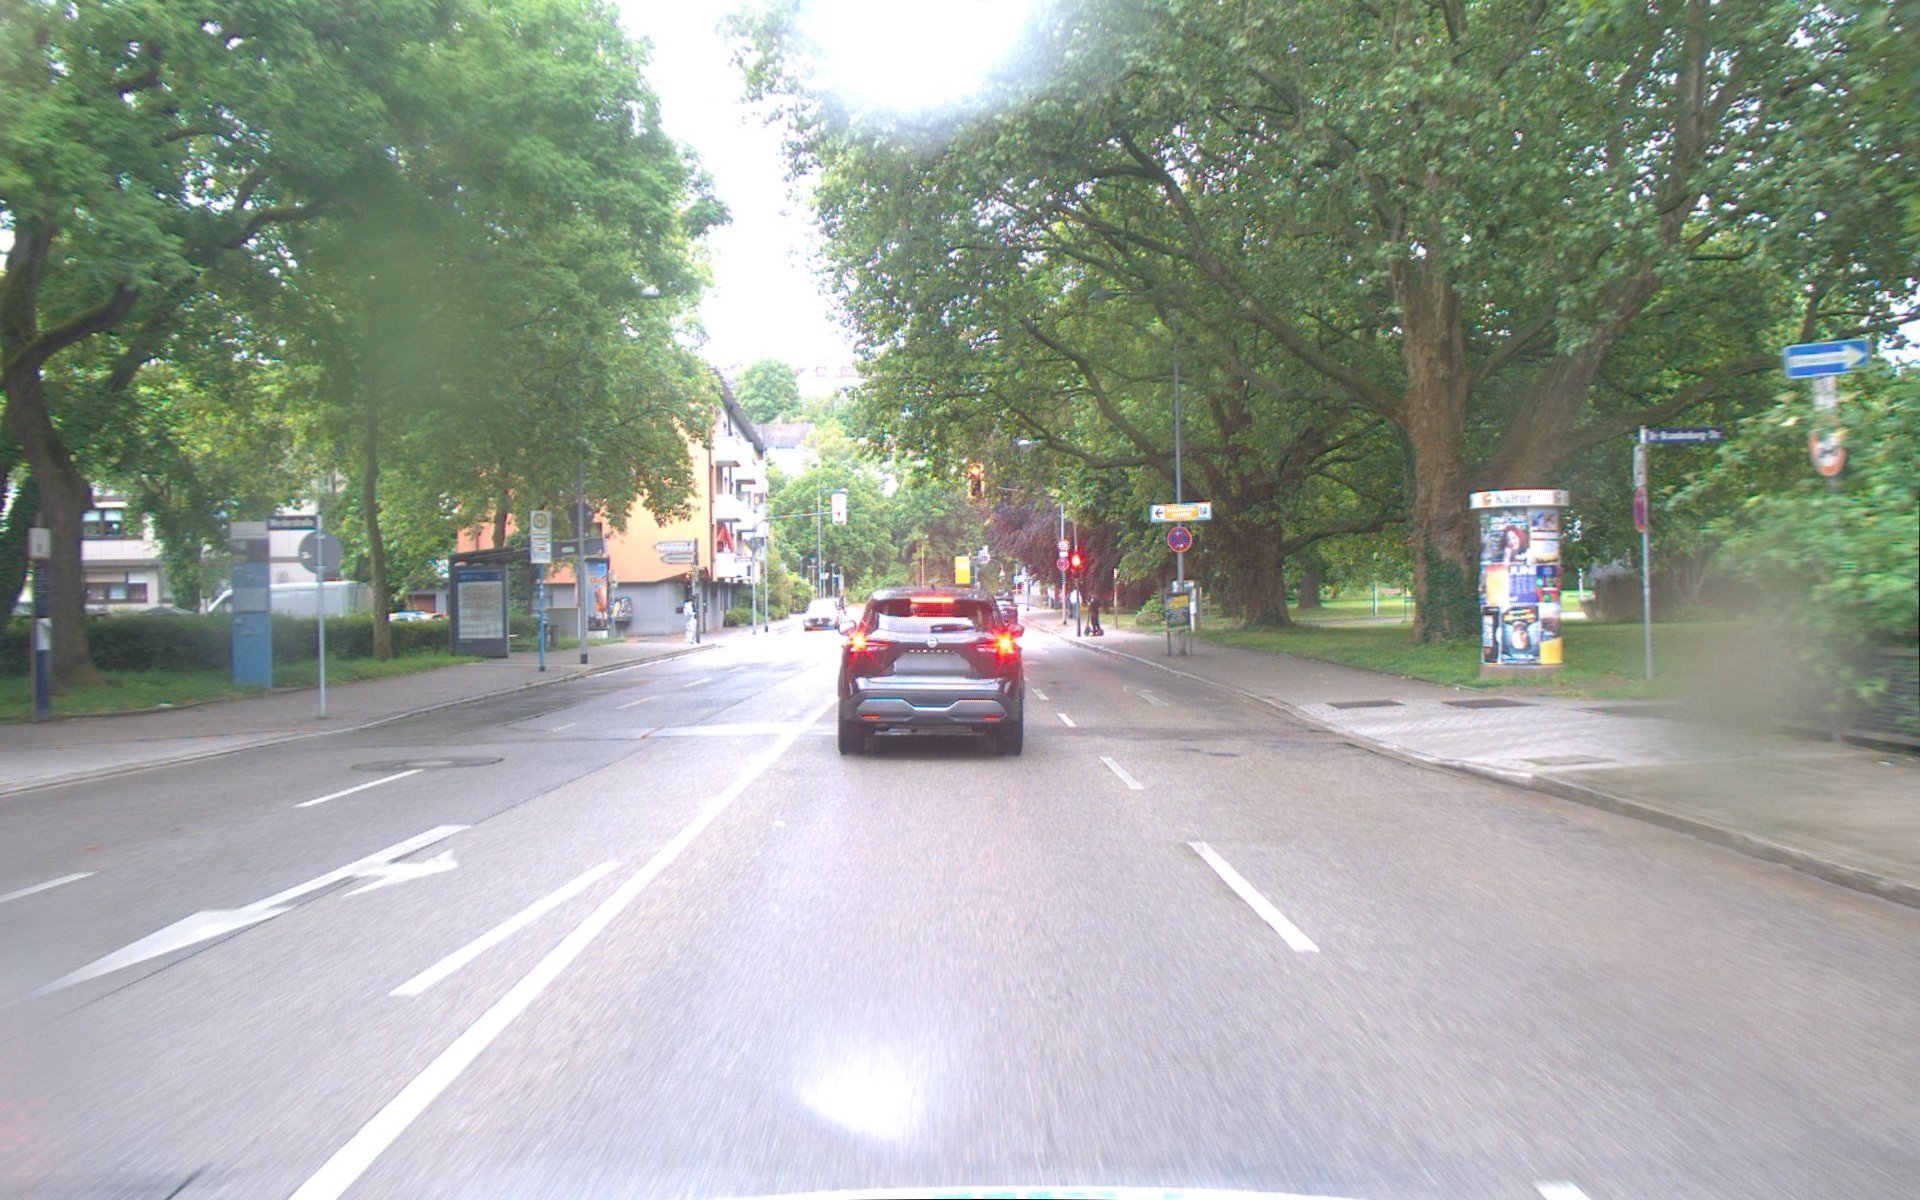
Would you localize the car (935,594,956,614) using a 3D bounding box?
[{"bbox_3d":[-1.159,0.323,132.134,1.601,1.559,3.967,-2,0,-1],"label":"car"}]

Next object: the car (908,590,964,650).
[{"bbox_3d":[-0.753,0.616,52.300,1.664,1.776,3.640,-2,0,-1],"label":"car"}]

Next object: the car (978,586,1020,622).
[{"bbox_3d":[2.039,0.236,85.621,1.952,1.765,4.002,1,0,4],"label":"car"}]

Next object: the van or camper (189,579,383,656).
[{"bbox_3d":[-18.576,0.464,45.748,4.504,1.983,1.999,-1,0,-3],"label":"van or camper"}]

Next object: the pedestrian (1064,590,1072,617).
[{"bbox_3d":[6.173,0.221,94.497,0.382,1.528,0.559,-2,0,-1],"label":"pedestrian"}]

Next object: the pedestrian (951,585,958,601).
[{"bbox_3d":[-0.611,-0.745,176.294,0.498,1.702,0.658,-2,0,27],"label":"pedestrian"}]

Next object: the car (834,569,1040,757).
[{"bbox_3d":[-0.230,0.576,17.188,1.874,1.709,3.999,1,0,-1],"label":"car"}]

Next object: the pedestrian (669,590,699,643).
[{"bbox_3d":[-10.222,0.599,61.254,1.017,1.908,0.656,-2,0,-13],"label":"pedestrian"}]

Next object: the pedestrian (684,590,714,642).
[{"bbox_3d":[-9.823,0.615,62.231,1.017,1.908,0.656,-2,0,-13],"label":"pedestrian"}]

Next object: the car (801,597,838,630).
[{"bbox_3d":[-7.121,0.657,84.181,1.760,1.560,3.864,-2,0,-4],"label":"car"}]

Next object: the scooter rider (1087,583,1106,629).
[{"bbox_3d":[5.361,0.253,64.939,0.629,1.797,0.736,-1,-1,11],"label":"scooter rider"}]

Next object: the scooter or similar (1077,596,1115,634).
[{"bbox_3d":[5.338,0.586,64.931,1.364,1.471,0.818,-1,-1,11],"label":"scooter or similar"}]

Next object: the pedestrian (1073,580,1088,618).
[{"bbox_3d":[6.547,-0.046,90.083,0.710,2.049,0.851,-2,0,-1],"label":"pedestrian"}]

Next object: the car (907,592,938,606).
[{"bbox_3d":[-4.855,-0.086,211.594,3.906,1.697,1.701,1,-1,-2],"label":"car"}]
